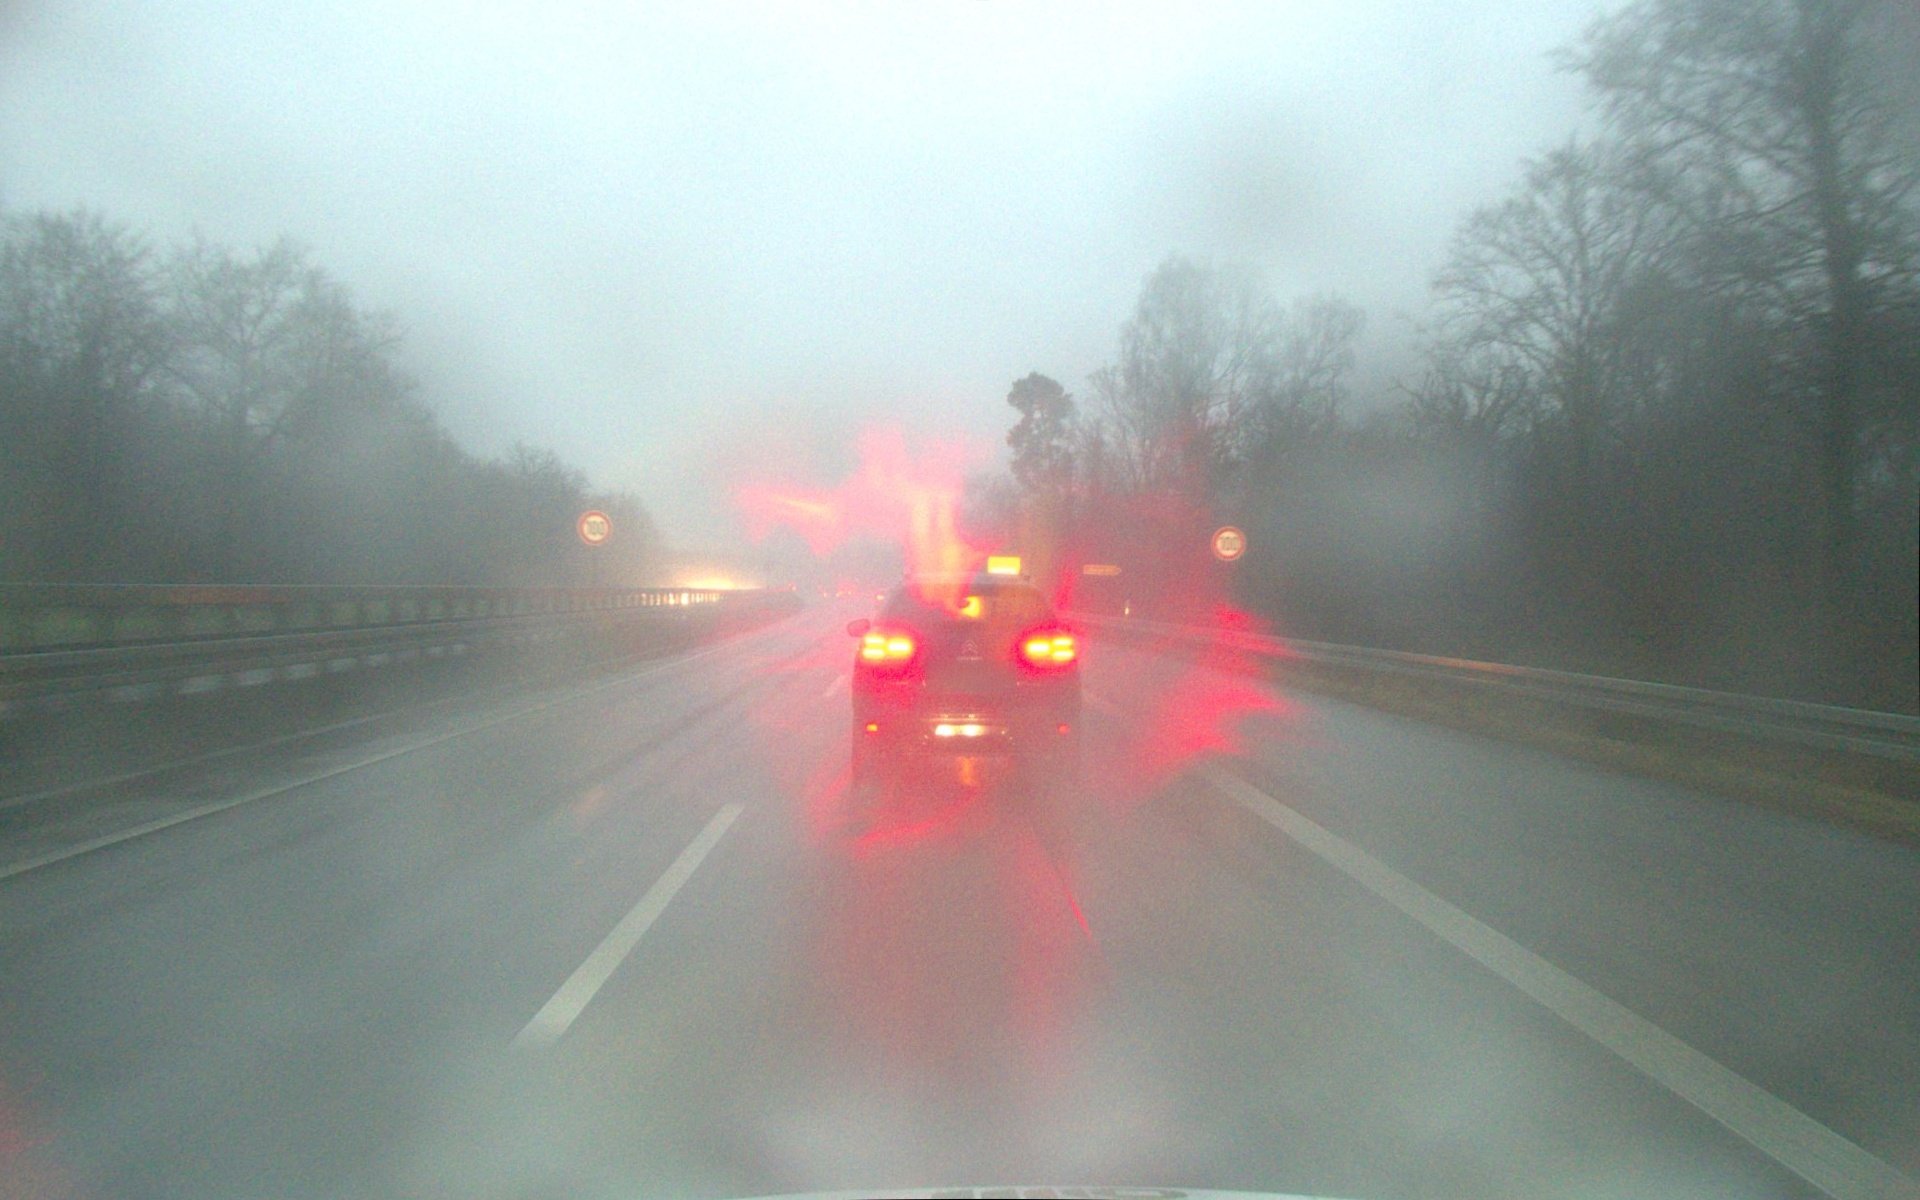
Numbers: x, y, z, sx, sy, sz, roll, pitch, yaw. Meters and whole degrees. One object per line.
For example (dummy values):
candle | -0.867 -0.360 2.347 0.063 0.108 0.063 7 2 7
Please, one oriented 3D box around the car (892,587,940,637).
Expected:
car | -1.875 0.492 70.415 1.953 2.049 3.998 1 0 -2

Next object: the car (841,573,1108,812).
car | 0.054 0.681 14.117 1.952 1.745 3.828 1 0 -2
